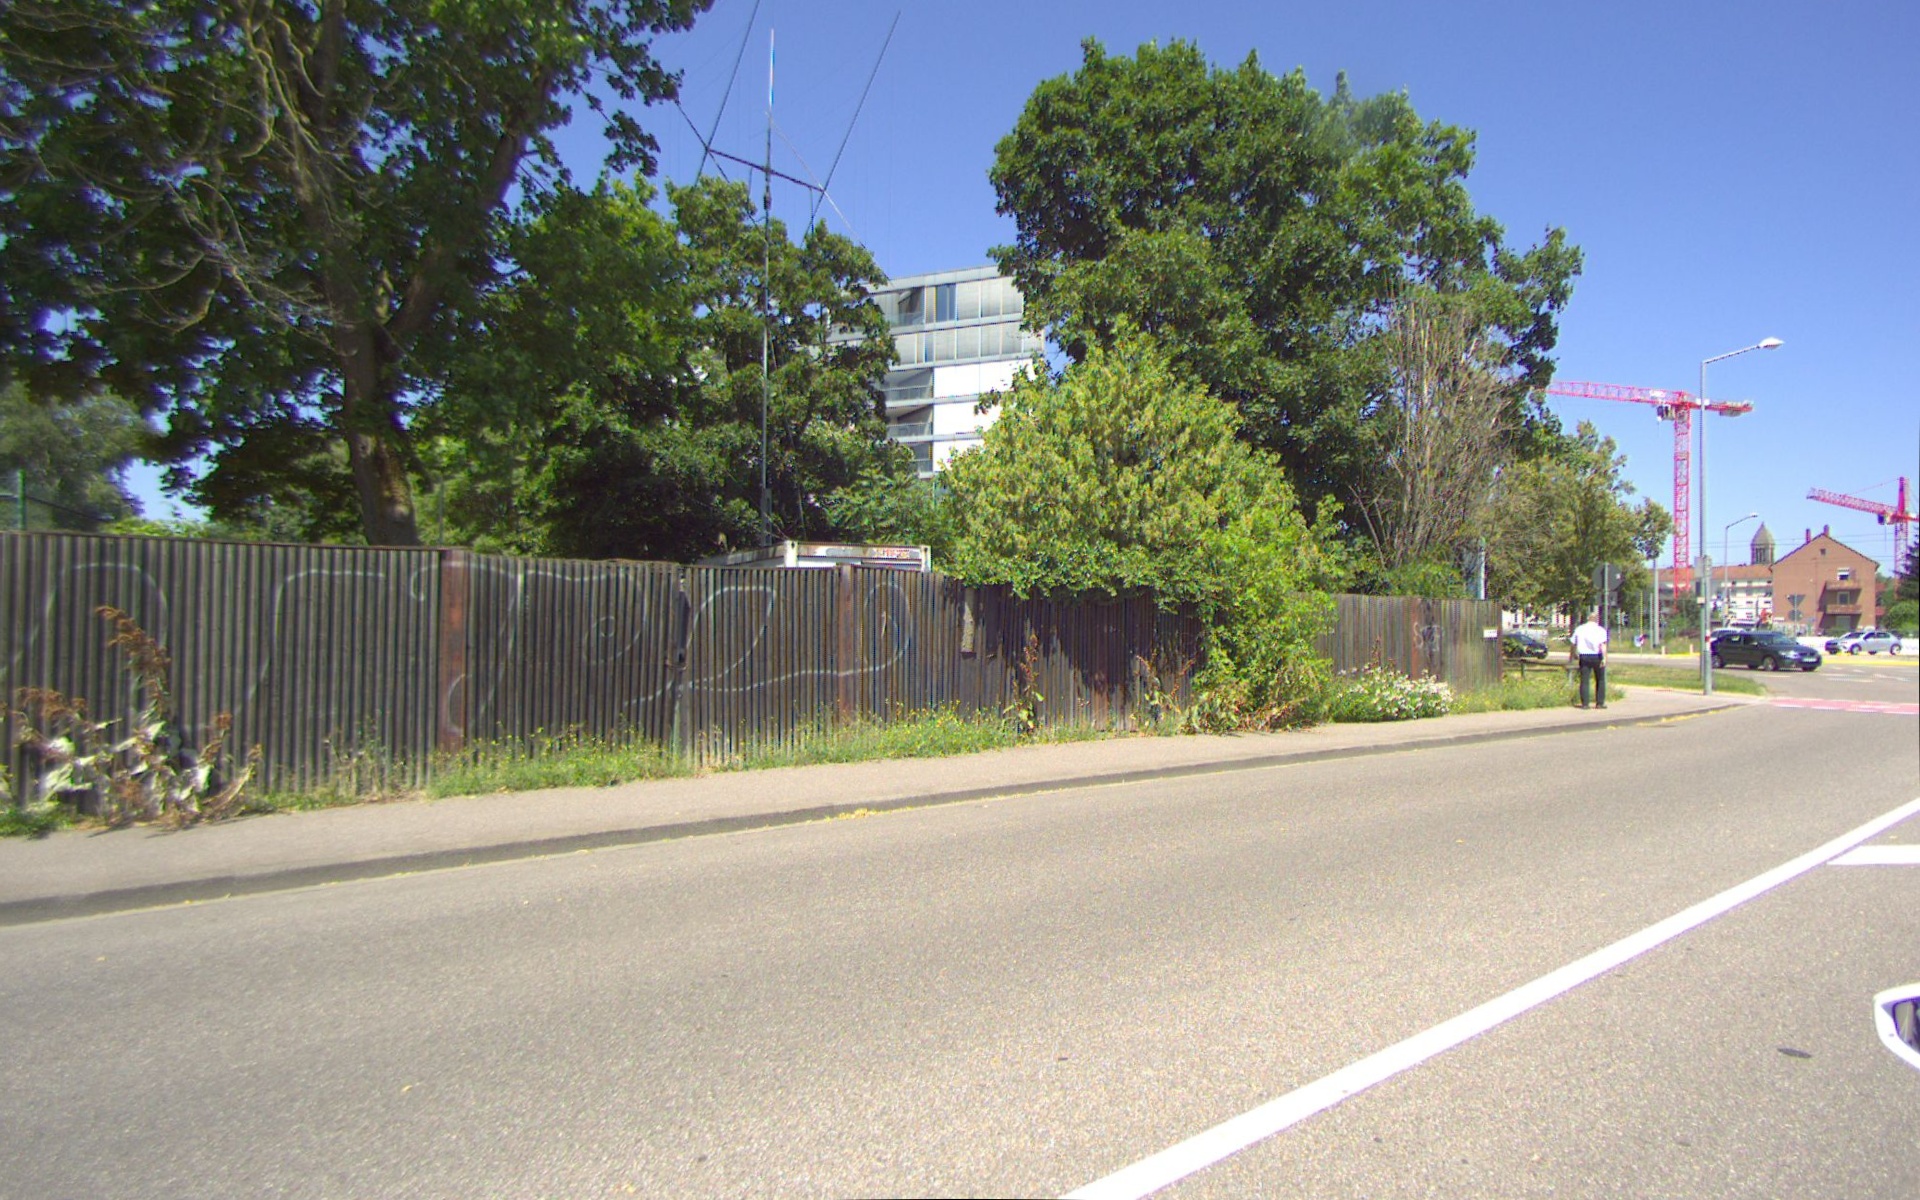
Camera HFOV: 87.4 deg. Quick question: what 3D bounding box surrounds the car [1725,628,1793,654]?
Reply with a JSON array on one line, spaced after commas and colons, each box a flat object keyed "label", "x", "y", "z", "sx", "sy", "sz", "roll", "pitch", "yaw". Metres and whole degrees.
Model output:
[{"label": "car", "x": 46.843, "y": 2.407, "z": 58.900, "sx": 4.282, "sy": 1.390, "sz": 1.737, "roll": 2, "pitch": 0, "yaw": -31}]

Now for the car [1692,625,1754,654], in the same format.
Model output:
[{"label": "car", "x": 42.275, "y": 2.149, "z": 55.608, "sx": 3.837, "sy": 1.547, "sz": 1.763, "roll": 1, "pitch": -2, "yaw": -37}]

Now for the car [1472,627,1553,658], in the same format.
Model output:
[{"label": "car", "x": 31.249, "y": 2.386, "z": 56.945, "sx": 1.699, "sy": 1.572, "sz": 3.987, "roll": 2, "pitch": 0, "yaw": -15}]

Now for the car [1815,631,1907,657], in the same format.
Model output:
[{"label": "car", "x": 55.795, "y": 2.695, "z": 62.233, "sx": 4.188, "sy": 1.421, "sz": 1.732, "roll": 2, "pitch": 0, "yaw": -3}]

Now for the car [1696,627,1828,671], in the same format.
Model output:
[{"label": "car", "x": 31.294, "y": 1.881, "z": 39.384, "sx": 1.694, "sy": 1.572, "sz": 4.343, "roll": 0, "pitch": -1, "yaw": 0}]

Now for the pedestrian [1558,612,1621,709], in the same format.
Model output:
[{"label": "pedestrian", "x": 12.101, "y": 1.147, "z": 19.315, "sx": 0.958, "sy": 1.810, "sz": 0.632, "roll": 2, "pitch": 0, "yaw": -32}]
